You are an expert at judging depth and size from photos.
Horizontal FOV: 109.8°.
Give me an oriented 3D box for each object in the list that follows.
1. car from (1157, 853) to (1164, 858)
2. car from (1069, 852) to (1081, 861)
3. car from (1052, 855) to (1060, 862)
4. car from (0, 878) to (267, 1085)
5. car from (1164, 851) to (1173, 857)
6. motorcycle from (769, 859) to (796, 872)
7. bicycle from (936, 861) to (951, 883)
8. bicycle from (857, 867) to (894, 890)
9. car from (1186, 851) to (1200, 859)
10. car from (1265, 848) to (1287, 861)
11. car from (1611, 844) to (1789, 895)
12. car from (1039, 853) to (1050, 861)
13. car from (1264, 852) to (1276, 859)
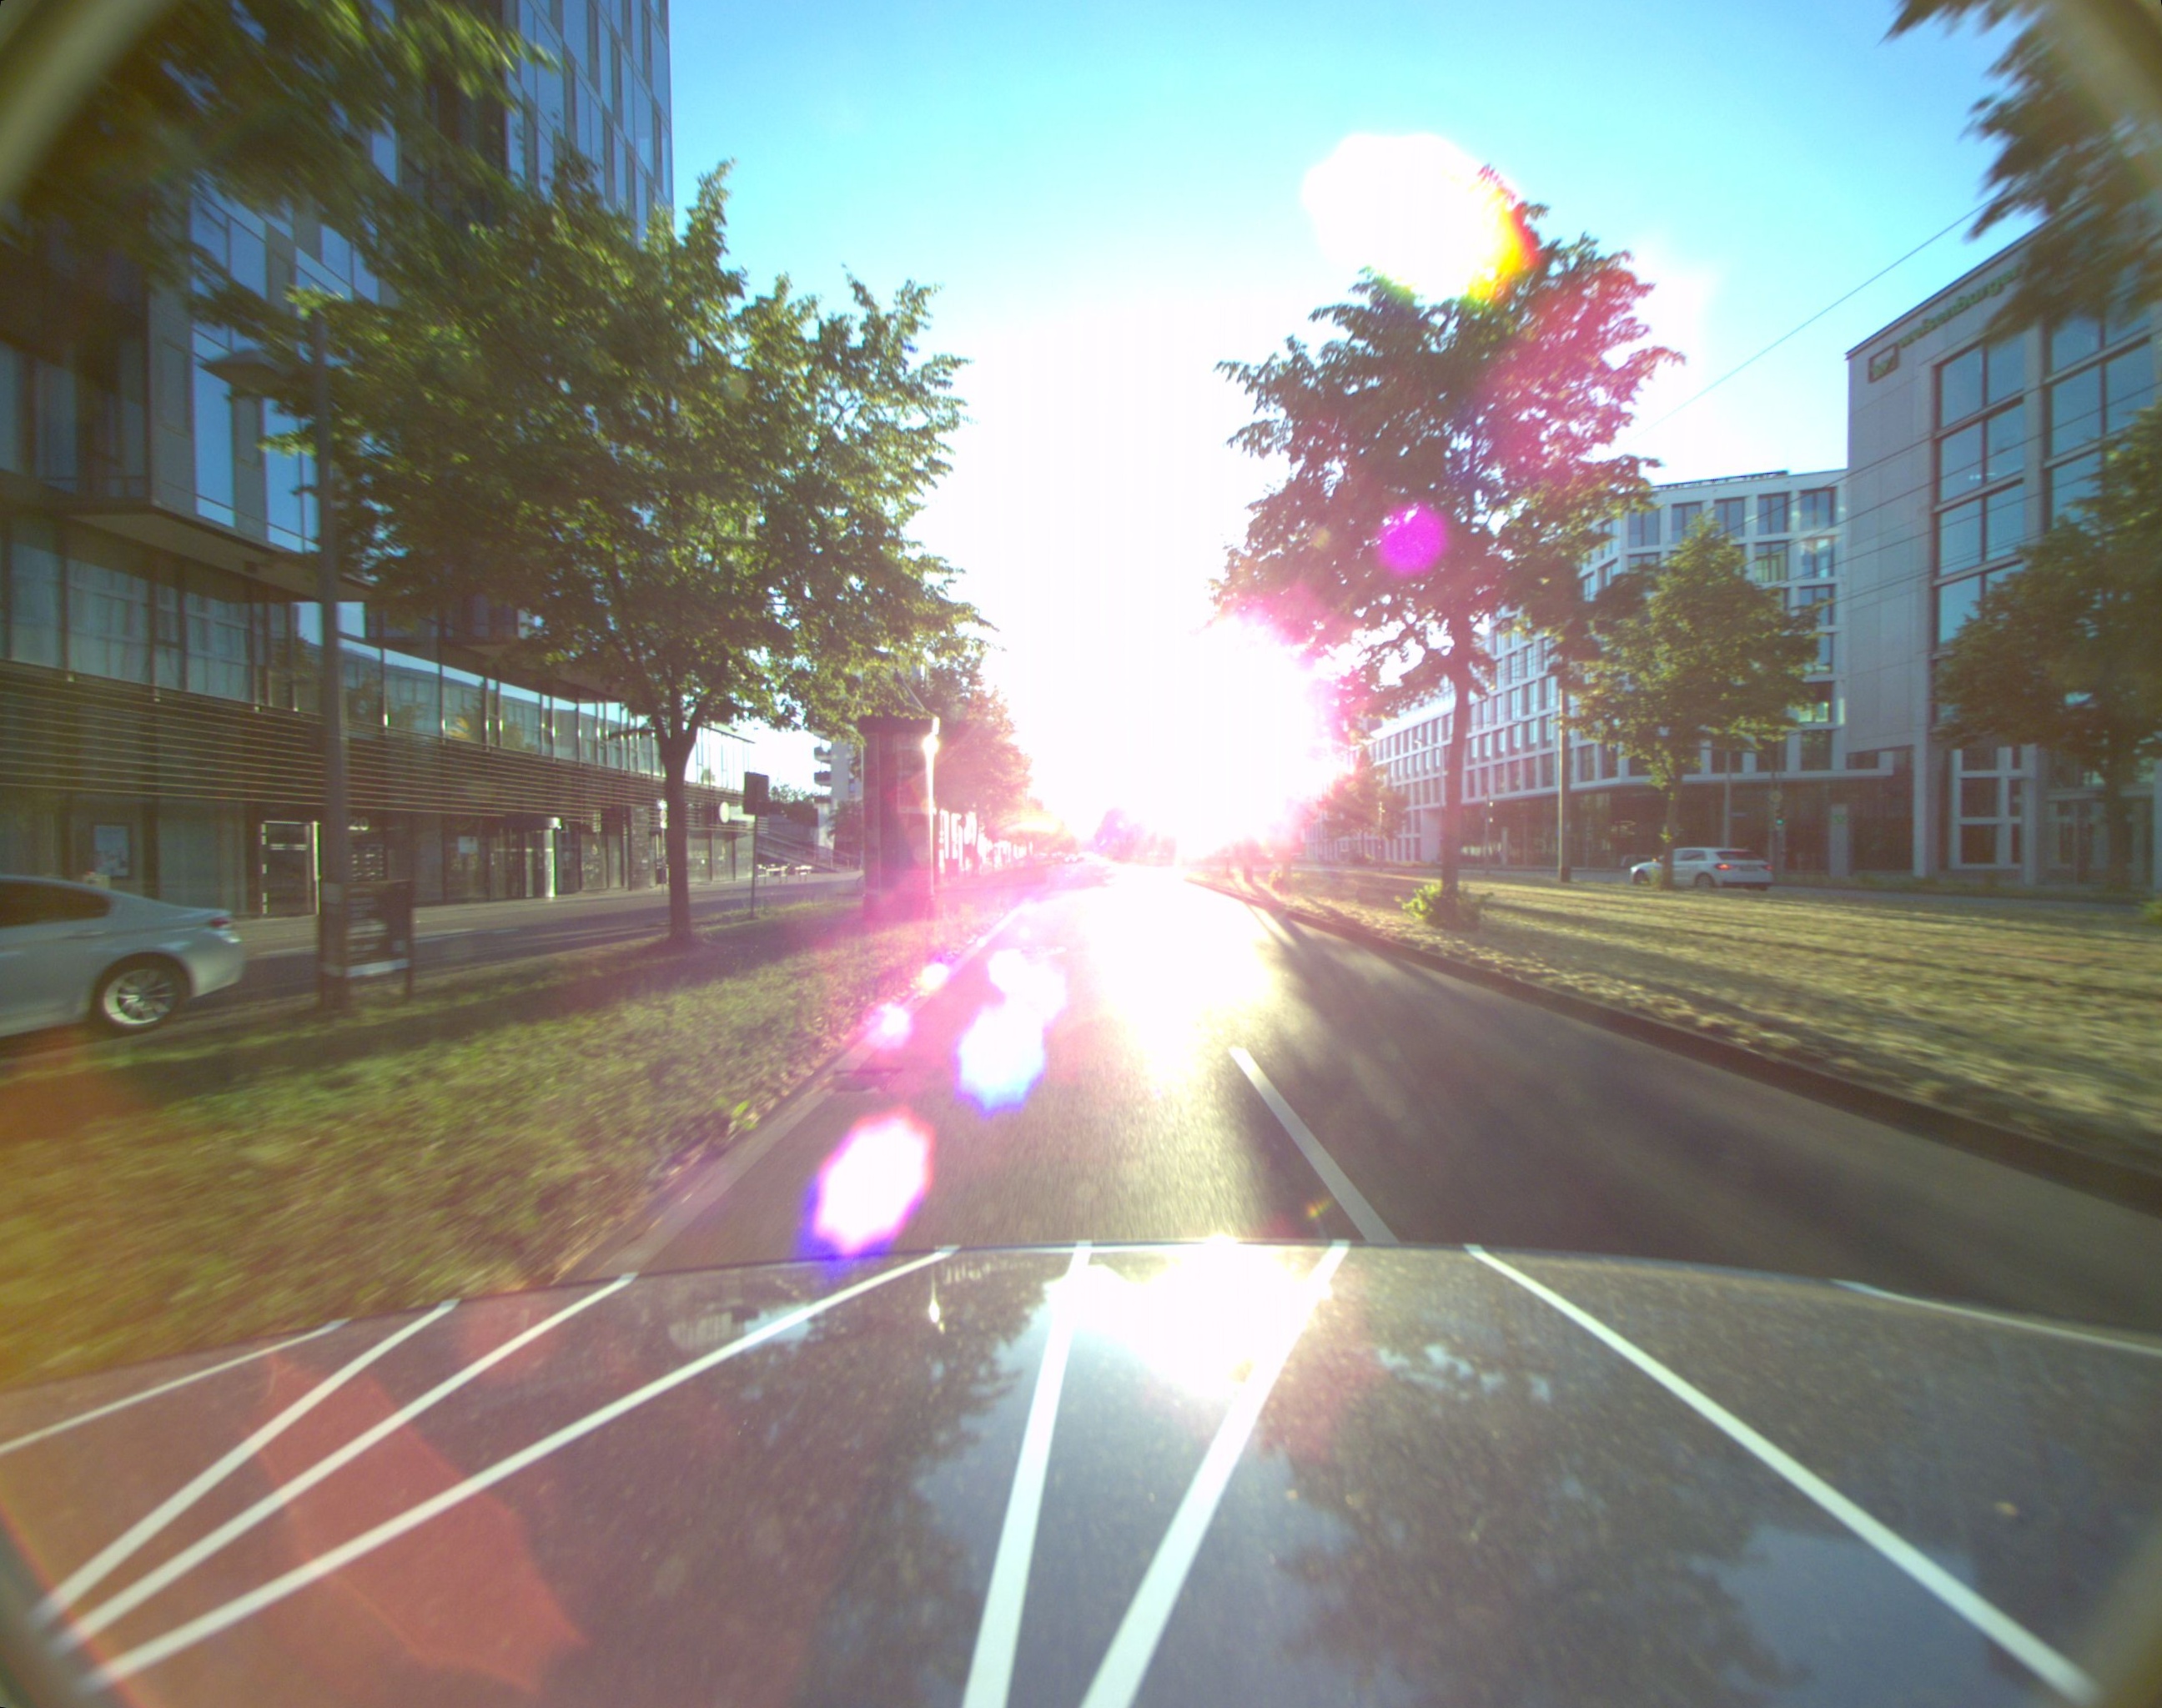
[{"bbox_3d":[23.283,0.490,222.162,1.649,1.395,3.999,-1,0,-1],"label":"car"},{"bbox_3d":[-0.939,0.414,123.045,1.998,1.473,4.335,-1,0,0],"label":"car"},{"bbox_3d":[-6.401,1.115,196.211,1.998,1.594,4.000,-1,0,0],"label":"car"},{"bbox_3d":[-9.119,1.034,5.082,1.922,1.488,5.040,-2,1,-1],"label":"car"},{"bbox_3d":[22.381,0.045,194.521,1.649,1.395,3.999,-1,0,-1],"label":"car"},{"bbox_3d":[-24.680,0.927,62.882,0.732,1.037,2.694,-1,0,11],"label":"motorcycle"},{"bbox_3d":[-6.283,0.810,34.835,0.581,0.989,1.686,-1,1,-7],"label":"bicycle"},{"bbox_3d":[-8.171,0.967,30.146,1.718,0.905,0.363,0,1,34],"label":"bicycle"},{"bbox_3d":[22.951,0.225,156.007,1.998,1.426,4.898,-1,1,0],"label":"car"},{"bbox_3d":[23.421,0.070,91.388,1.645,1.440,4.000,-1,0,0],"label":"car"},{"bbox_3d":[19.695,0.449,24.490,1.907,1.477,4.630,0,0,-1],"label":"car"},{"bbox_3d":[-6.950,0.607,145.301,1.998,1.594,4.000,-1,0,0],"label":"car"},{"bbox_3d":[40.427,0.318,162.677,1.997,1.583,4.337,-1,0,7],"label":"car"}]
